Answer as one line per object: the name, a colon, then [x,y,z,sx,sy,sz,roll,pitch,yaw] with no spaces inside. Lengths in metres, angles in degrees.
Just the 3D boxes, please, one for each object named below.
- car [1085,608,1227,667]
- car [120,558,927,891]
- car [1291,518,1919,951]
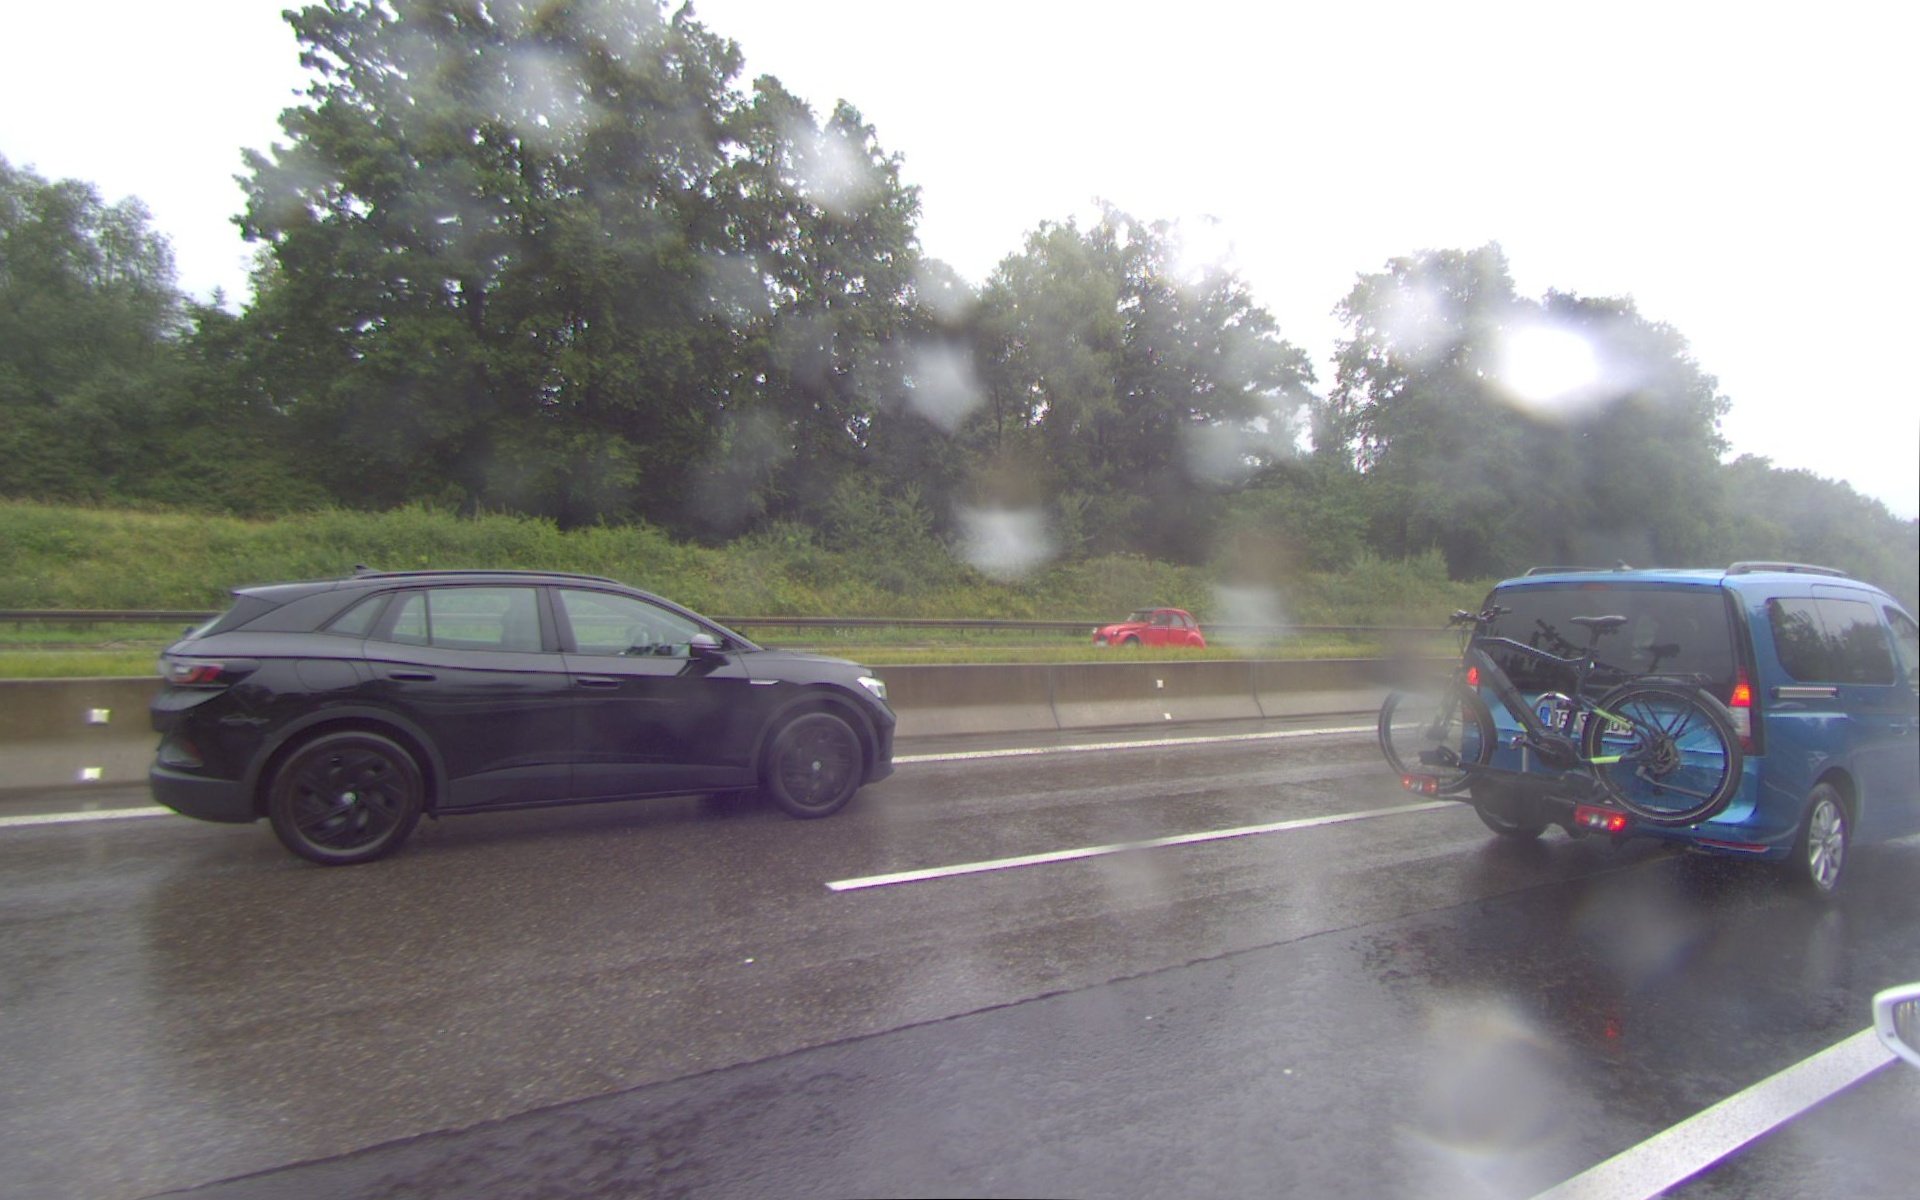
car: [5.838,1.096,29.822,3.898,1.613,1.837,1,0,-30]
car: [-2.599,0.638,6.779,4.414,1.613,1.837,1,0,-30]
car: [4.843,0.641,6.710,4.955,1.937,2.259,1,0,-30]
